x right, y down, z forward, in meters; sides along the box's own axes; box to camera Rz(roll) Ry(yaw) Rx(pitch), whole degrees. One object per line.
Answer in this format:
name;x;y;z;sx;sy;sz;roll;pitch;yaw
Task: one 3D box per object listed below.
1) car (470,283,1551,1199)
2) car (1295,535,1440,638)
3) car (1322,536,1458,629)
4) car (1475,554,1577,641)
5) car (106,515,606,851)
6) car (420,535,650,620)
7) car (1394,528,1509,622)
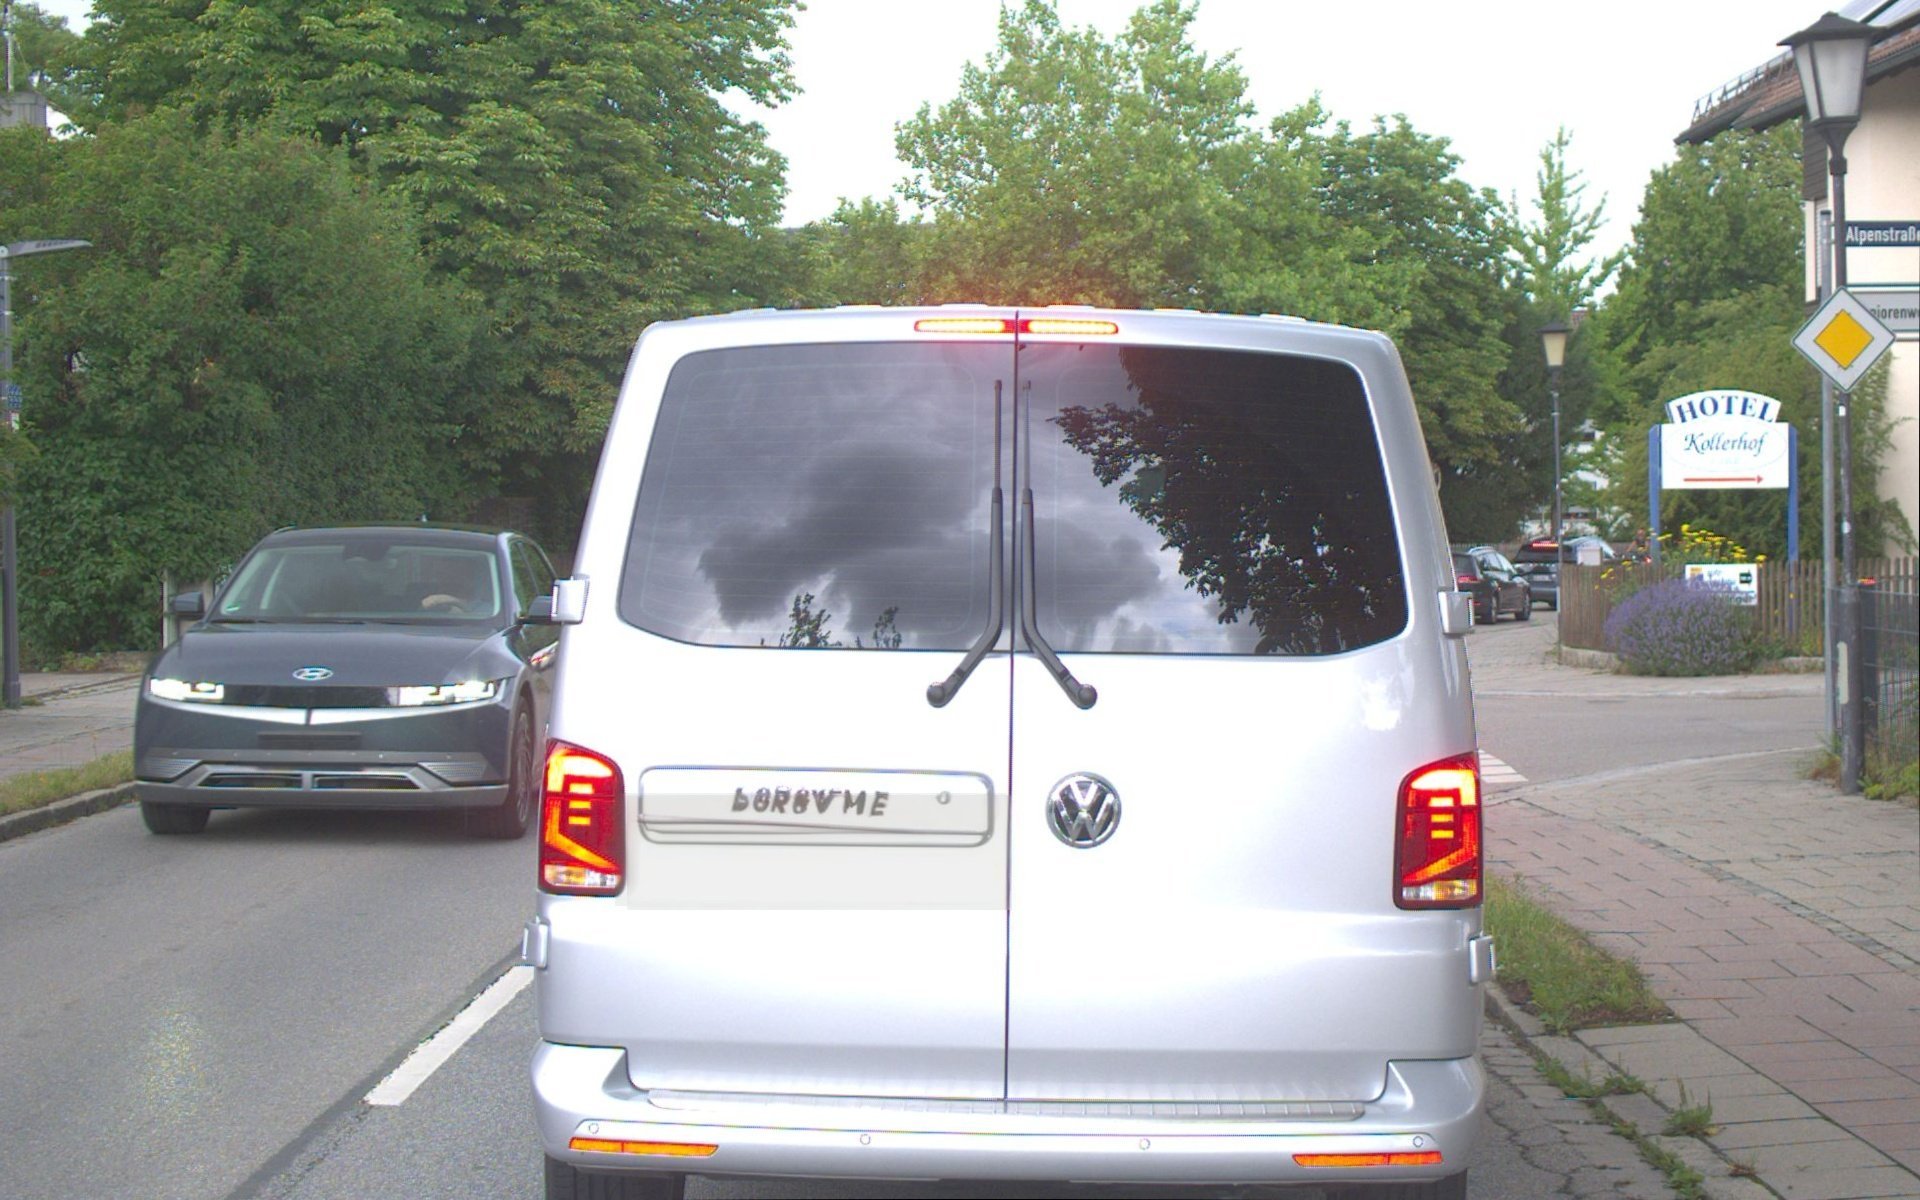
car;0.111;0.384;7.975;1.881;1.934;3.921;0;1;1
car;6.337;-0.241;53.171;1.882;1.530;3.919;0;1;12
car;7.432;-0.327;59.133;1.882;1.530;3.918;0;1;14
car;12.294;-0.081;74.557;1.882;1.819;3.918;0;1;14
car;-3.102;0.359;18.534;1.930;1.569;4.312;1;1;0
car;-7.542;-0.406;61.009;3.986;1.481;2.001;0;1;-8
car;9.472;-0.502;66.046;1.882;1.742;4.078;0;1;12
